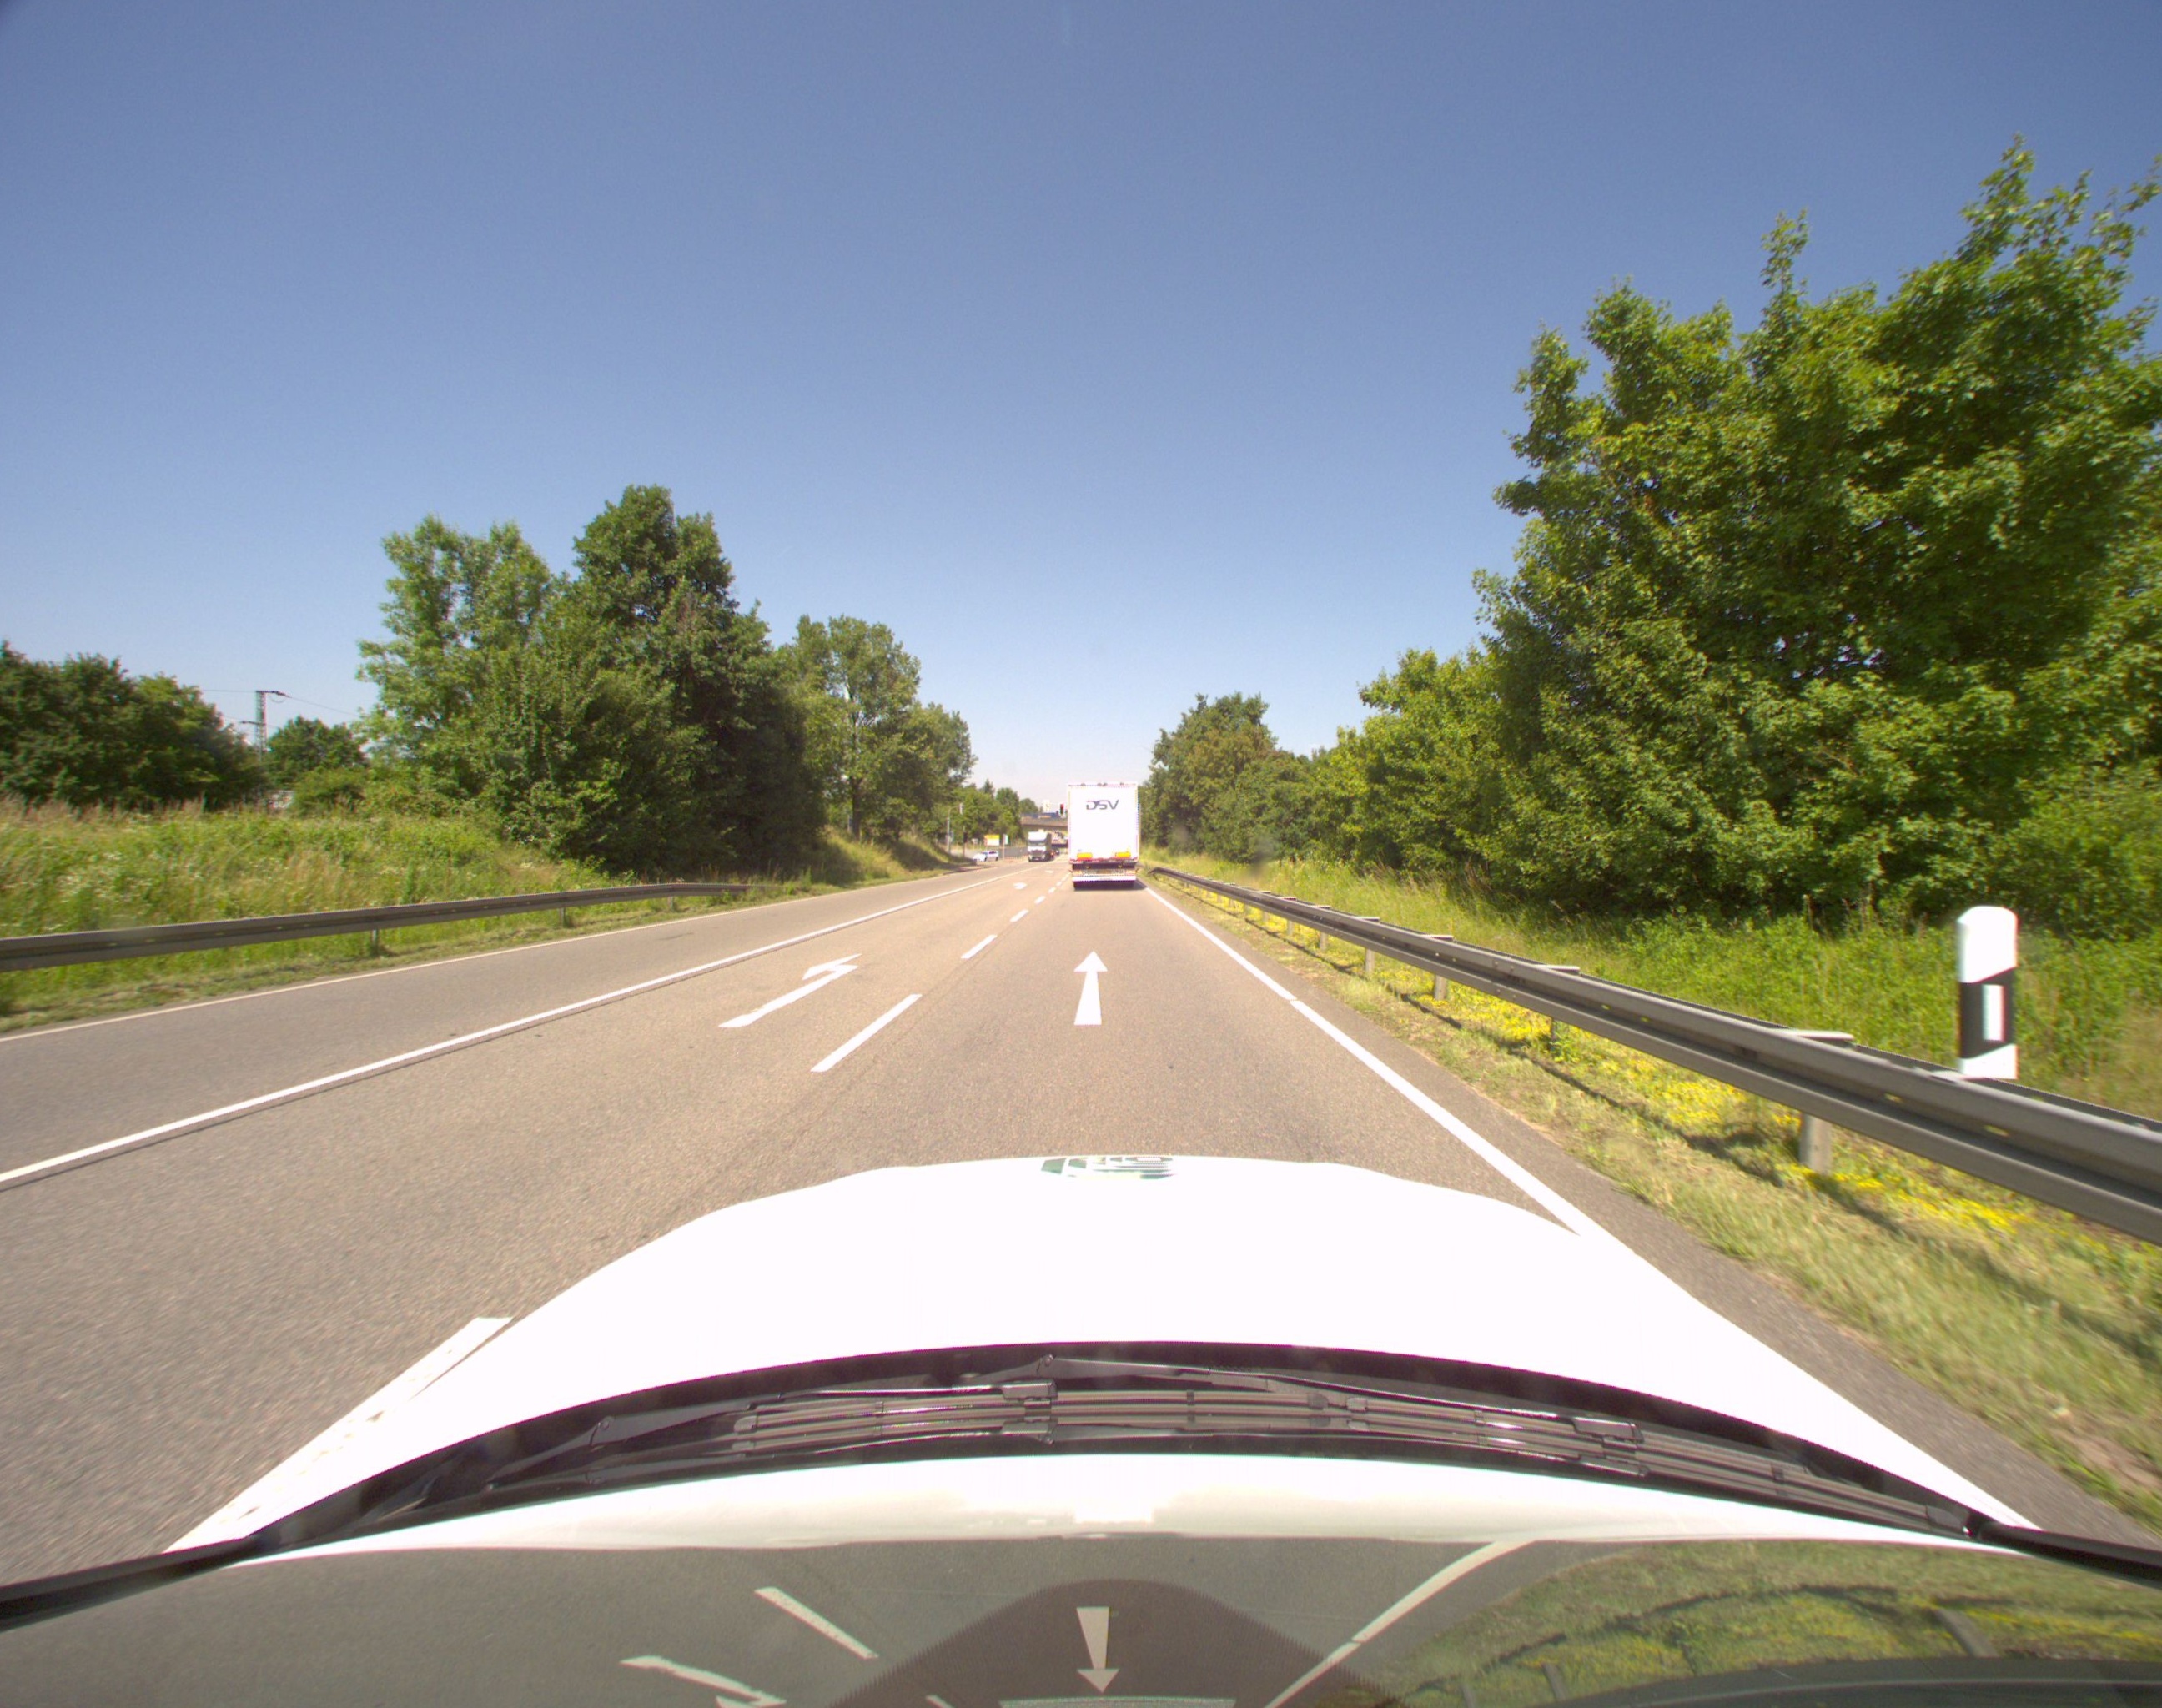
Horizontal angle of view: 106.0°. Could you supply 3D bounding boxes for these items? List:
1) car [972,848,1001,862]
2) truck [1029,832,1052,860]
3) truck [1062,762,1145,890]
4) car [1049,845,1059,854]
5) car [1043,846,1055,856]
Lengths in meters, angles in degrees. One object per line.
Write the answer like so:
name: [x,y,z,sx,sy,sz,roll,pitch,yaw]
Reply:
car: [-13.403,0.154,116.116,1.784,1.872,4.447,-1,1,29]
truck: [-5.661,-1.116,116.304,2.345,3.749,12.627,-1,1,1]
truck: [0.862,-1.039,34.298,2.940,4.568,9.863,-1,0,1]
car: [-5.297,-0.904,160.463,1.741,1.626,3.703,-1,1,0]
car: [-5.266,-0.559,133.734,1.741,1.626,3.703,-1,1,0]
